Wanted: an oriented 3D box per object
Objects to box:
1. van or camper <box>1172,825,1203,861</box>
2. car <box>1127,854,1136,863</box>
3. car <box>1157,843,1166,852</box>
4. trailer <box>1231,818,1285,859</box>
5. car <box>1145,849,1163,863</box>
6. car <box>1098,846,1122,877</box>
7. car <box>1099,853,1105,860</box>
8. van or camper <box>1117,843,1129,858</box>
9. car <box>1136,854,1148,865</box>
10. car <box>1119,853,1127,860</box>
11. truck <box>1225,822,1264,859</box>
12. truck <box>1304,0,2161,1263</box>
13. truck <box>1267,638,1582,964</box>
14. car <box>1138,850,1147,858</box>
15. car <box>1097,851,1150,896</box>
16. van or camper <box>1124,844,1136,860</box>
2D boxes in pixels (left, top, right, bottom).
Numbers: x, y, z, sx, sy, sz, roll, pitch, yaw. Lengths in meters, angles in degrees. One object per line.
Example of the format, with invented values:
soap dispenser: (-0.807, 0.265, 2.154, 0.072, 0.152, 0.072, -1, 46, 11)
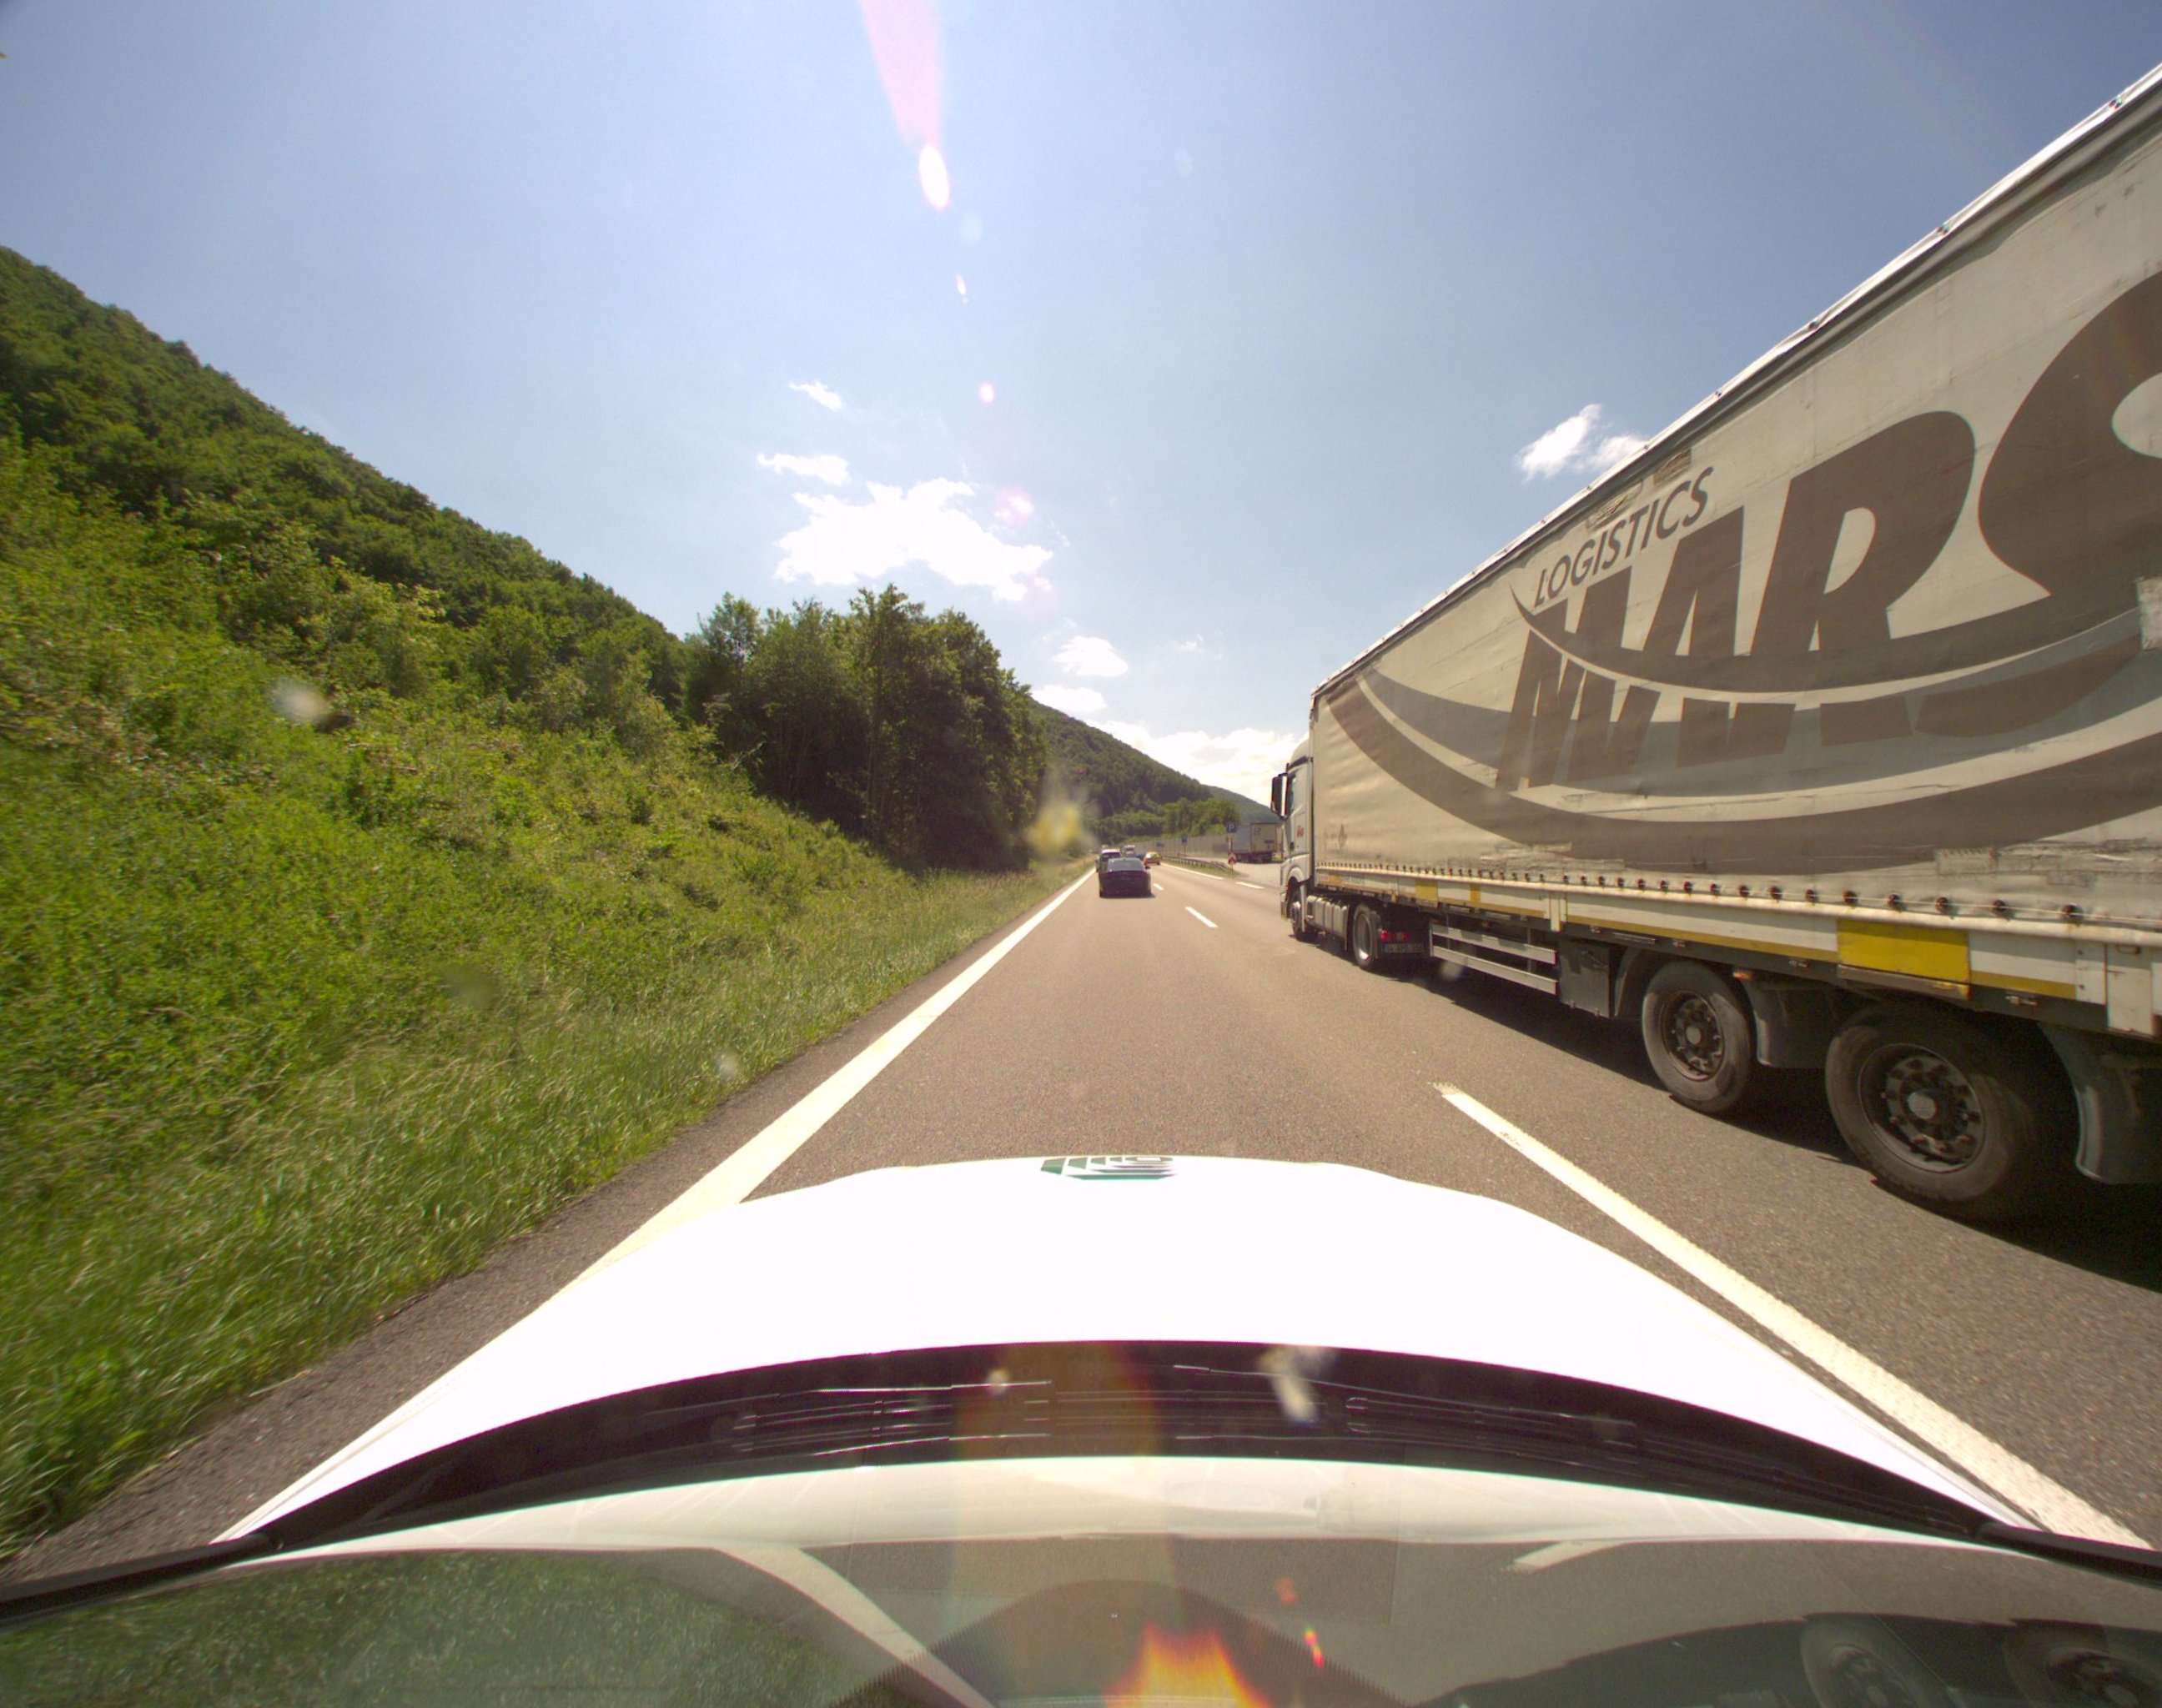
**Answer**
van or camper: (12.153, -1.199, 93.232, 2.785, 3.841, 6.166, 1, -1, 0)
car: (8.657, 0.838, 140.264, 1.524, 1.525, 3.598, 1, -1, 2)
car: (17.065, -1.391, 172.865, 1.570, 2.013, 3.430, -1, 0, 2)
trailer: (18.039, -1.460, 83.903, 3.399, 3.900, 11.156, -1, 0, 2)
car: (8.613, 0.233, 96.017, 1.871, 1.499, 4.002, -1, 0, 2)
car: (1.937, 0.528, 54.603, 1.515, 1.968, 3.515, 2, 0, 2)
car: (6.443, 0.796, 249.800, 1.681, 2.013, 4.001, -1, 0, 1)
van or camper: (11.307, -0.880, 218.609, 2.785, 3.907, 6.166, 1, -1, 0)
car: (8.856, 0.772, 118.647, 1.524, 1.525, 3.598, 1, -1, 2)
car: (10.315, 0.667, 199.812, 1.986, 1.794, 4.001, 1, -1, 1)
truck: (18.255, -1.473, 91.109, 3.399, 3.900, 5.389, -1, 0, 2)
truck: (4.788, -0.724, 6.168, 2.716, 4.068, 13.743, 0, -1, 1)
truck: (4.938, -0.633, 13.047, 2.709, 4.068, 5.755, 0, -1, 1)
car: (15.916, -0.004, 211.460, 1.987, 2.013, 4.000, -1, 0, 1)
car: (1.553, 0.684, 30.290, 1.805, 1.514, 3.516, -2, 0, 2)
van or camper: (10.309, -0.373, 172.446, 2.420, 3.155, 5.206, 1, -1, 2)
